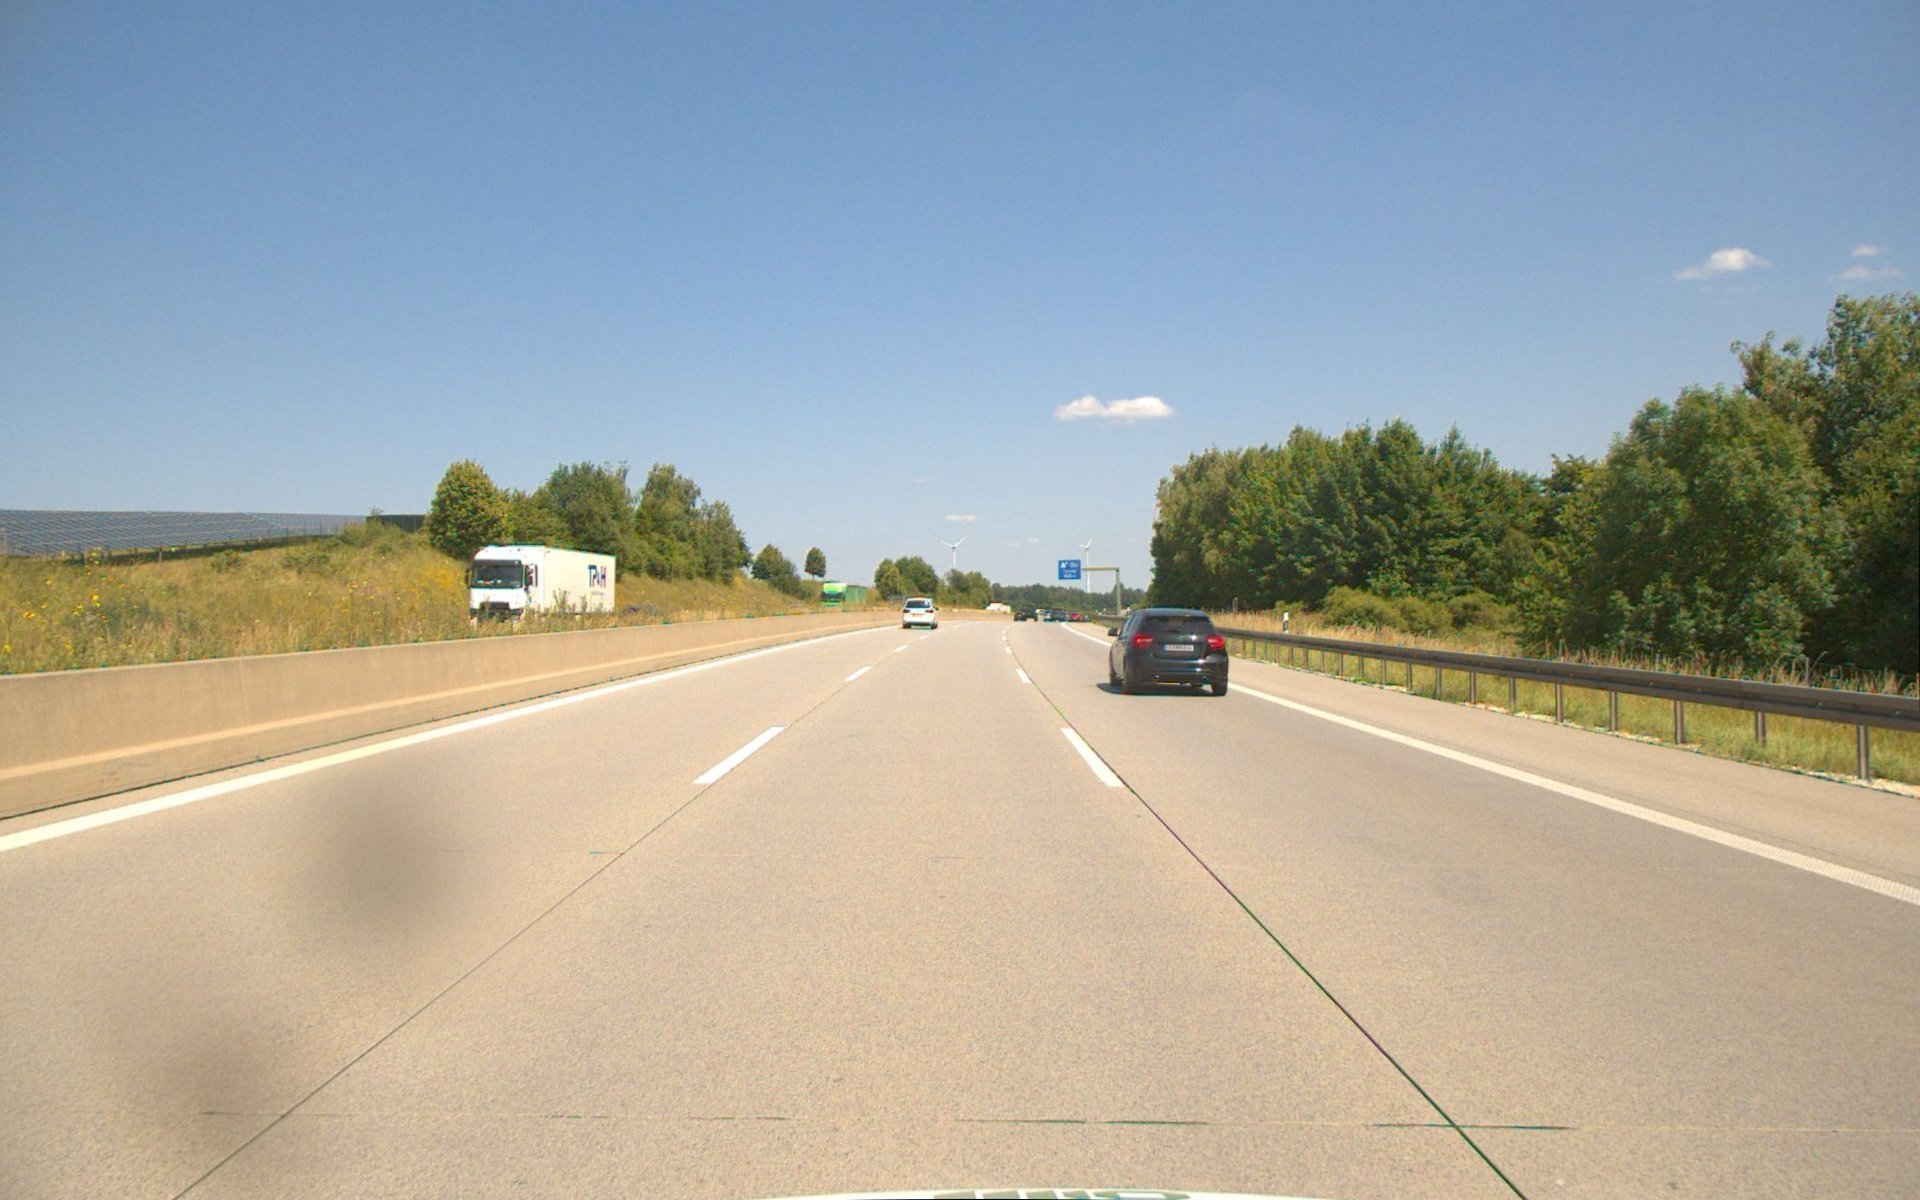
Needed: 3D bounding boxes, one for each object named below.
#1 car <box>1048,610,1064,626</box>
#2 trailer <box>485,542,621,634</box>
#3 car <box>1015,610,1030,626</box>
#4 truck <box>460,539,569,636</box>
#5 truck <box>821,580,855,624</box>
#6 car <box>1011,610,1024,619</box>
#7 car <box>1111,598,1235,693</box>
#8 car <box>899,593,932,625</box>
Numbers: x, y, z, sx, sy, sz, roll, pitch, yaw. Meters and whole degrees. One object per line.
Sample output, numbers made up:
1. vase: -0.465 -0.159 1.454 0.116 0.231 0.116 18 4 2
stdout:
1. car: 11.294 2.129 195.397 1.789 1.940 4.001 0 0 2
2. trailer: -19.706 -0.541 81.296 2.943 4.131 14.179 0 0 1
3. car: 7.923 2.232 209.107 1.789 1.971 3.809 0 0 1
4. truck: -19.837 -0.538 74.030 2.929 4.131 6.870 0 0 1
5. truck: -13.446 0.222 182.836 3.025 4.743 6.267 0 0 2
6. car: 8.801 2.165 252.455 1.622 1.217 3.958 3 0 -2
7. car: 3.679 0.742 29.212 1.870 1.518 4.193 1 0 3
8. car: -2.510 0.520 94.540 1.808 1.738 6.034 0 0 -1
